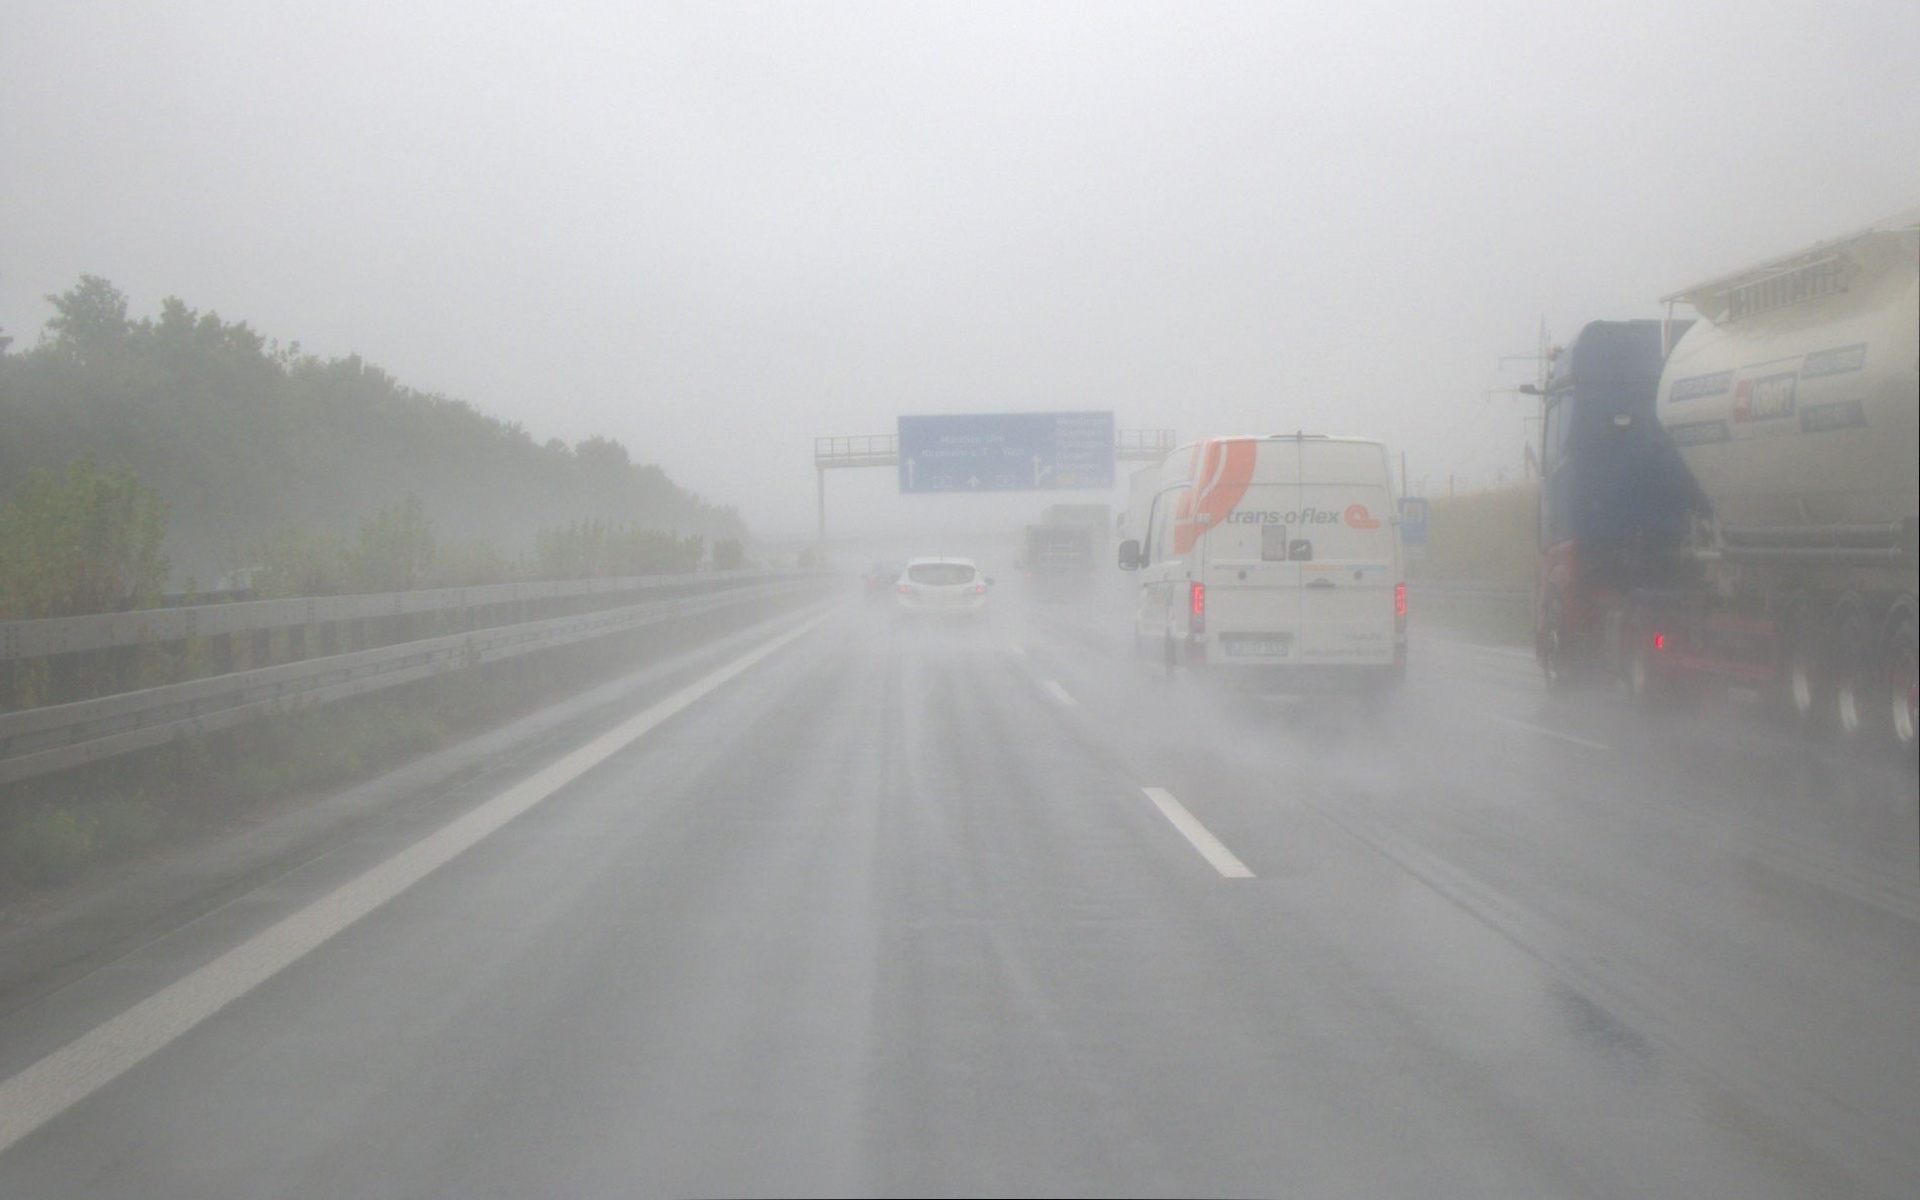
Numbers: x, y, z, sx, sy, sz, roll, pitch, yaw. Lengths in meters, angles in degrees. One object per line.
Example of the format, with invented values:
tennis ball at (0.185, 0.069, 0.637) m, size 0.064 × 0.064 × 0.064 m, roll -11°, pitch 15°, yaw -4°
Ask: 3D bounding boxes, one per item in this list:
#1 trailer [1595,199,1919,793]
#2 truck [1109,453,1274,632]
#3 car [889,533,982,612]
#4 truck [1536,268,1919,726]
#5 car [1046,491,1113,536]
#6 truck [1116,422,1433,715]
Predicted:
trailer at (7.395, -0.774, 26.874) m, size 2.497 × 3.869 × 11.068 m, roll 1°, pitch 1°, yaw -1°
truck at (6.329, -1.544, 97.013) m, size 3.039 × 4.572 × 16.352 m, roll 1°, pitch 0°, yaw -2°
car at (-0.455, -0.522, 61.700) m, size 1.605 × 1.333 × 3.849 m, roll 1°, pitch 1°, yaw -1°
truck at (7.229, -0.956, 32.638) m, size 2.496 × 3.970 × 5.076 m, roll 1°, pitch 1°, yaw -1°
car at (5.412, -3.951, 156.854) m, size 2.788 × 2.007 × 4.993 m, roll 1°, pitch 1°, yaw -1°
truck at (2.823, -0.333, 32.259) m, size 2.419 × 2.484 × 5.560 m, roll 1°, pitch 1°, yaw 0°
